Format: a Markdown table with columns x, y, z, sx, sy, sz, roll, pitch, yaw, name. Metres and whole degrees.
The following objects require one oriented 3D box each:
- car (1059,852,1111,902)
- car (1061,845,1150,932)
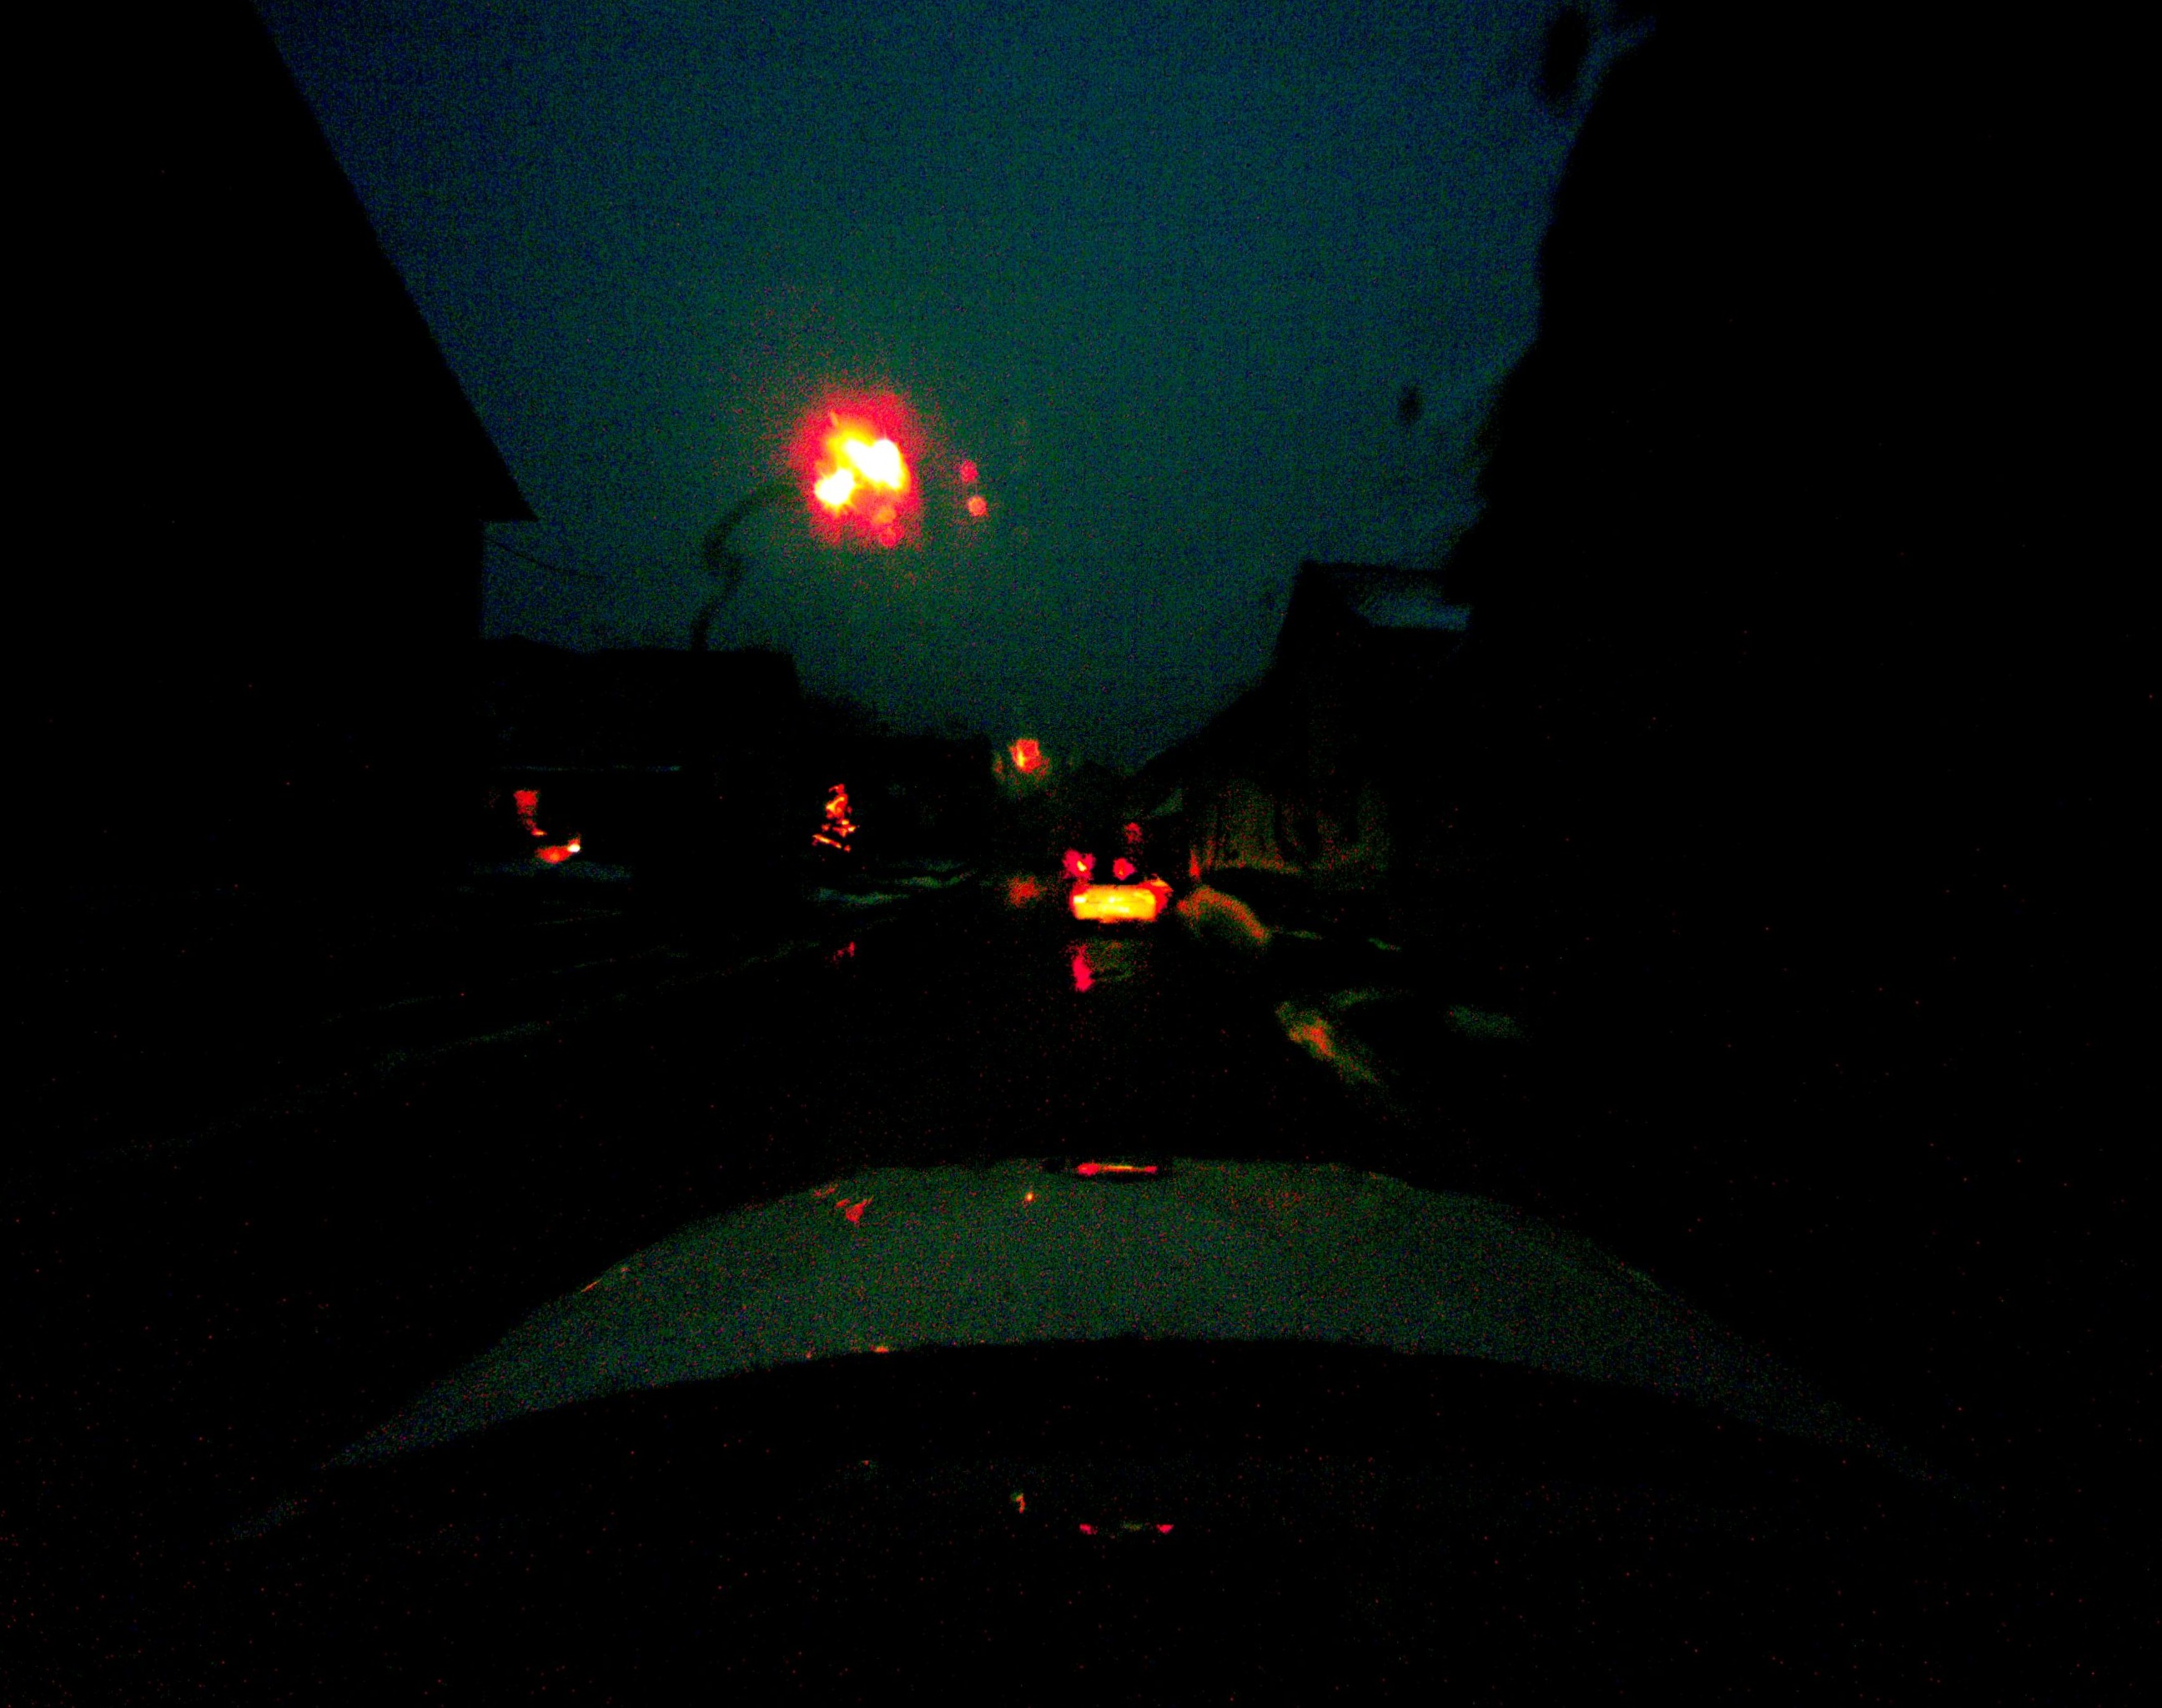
| x | y | z | sx | sy | sz | roll | pitch | yaw | name |
| --- | --- | --- | --- | --- | --- | --- | --- | --- | --- |
| 0.089 | 0.779 | 28.683 | 1.641 | 1.596 | 3.695 | 1 | -1 | -3 | car |
| 0.485 | 0.680 | 17.167 | 1.639 | 1.596 | 3.699 | 1 | -1 | 1 | car |
